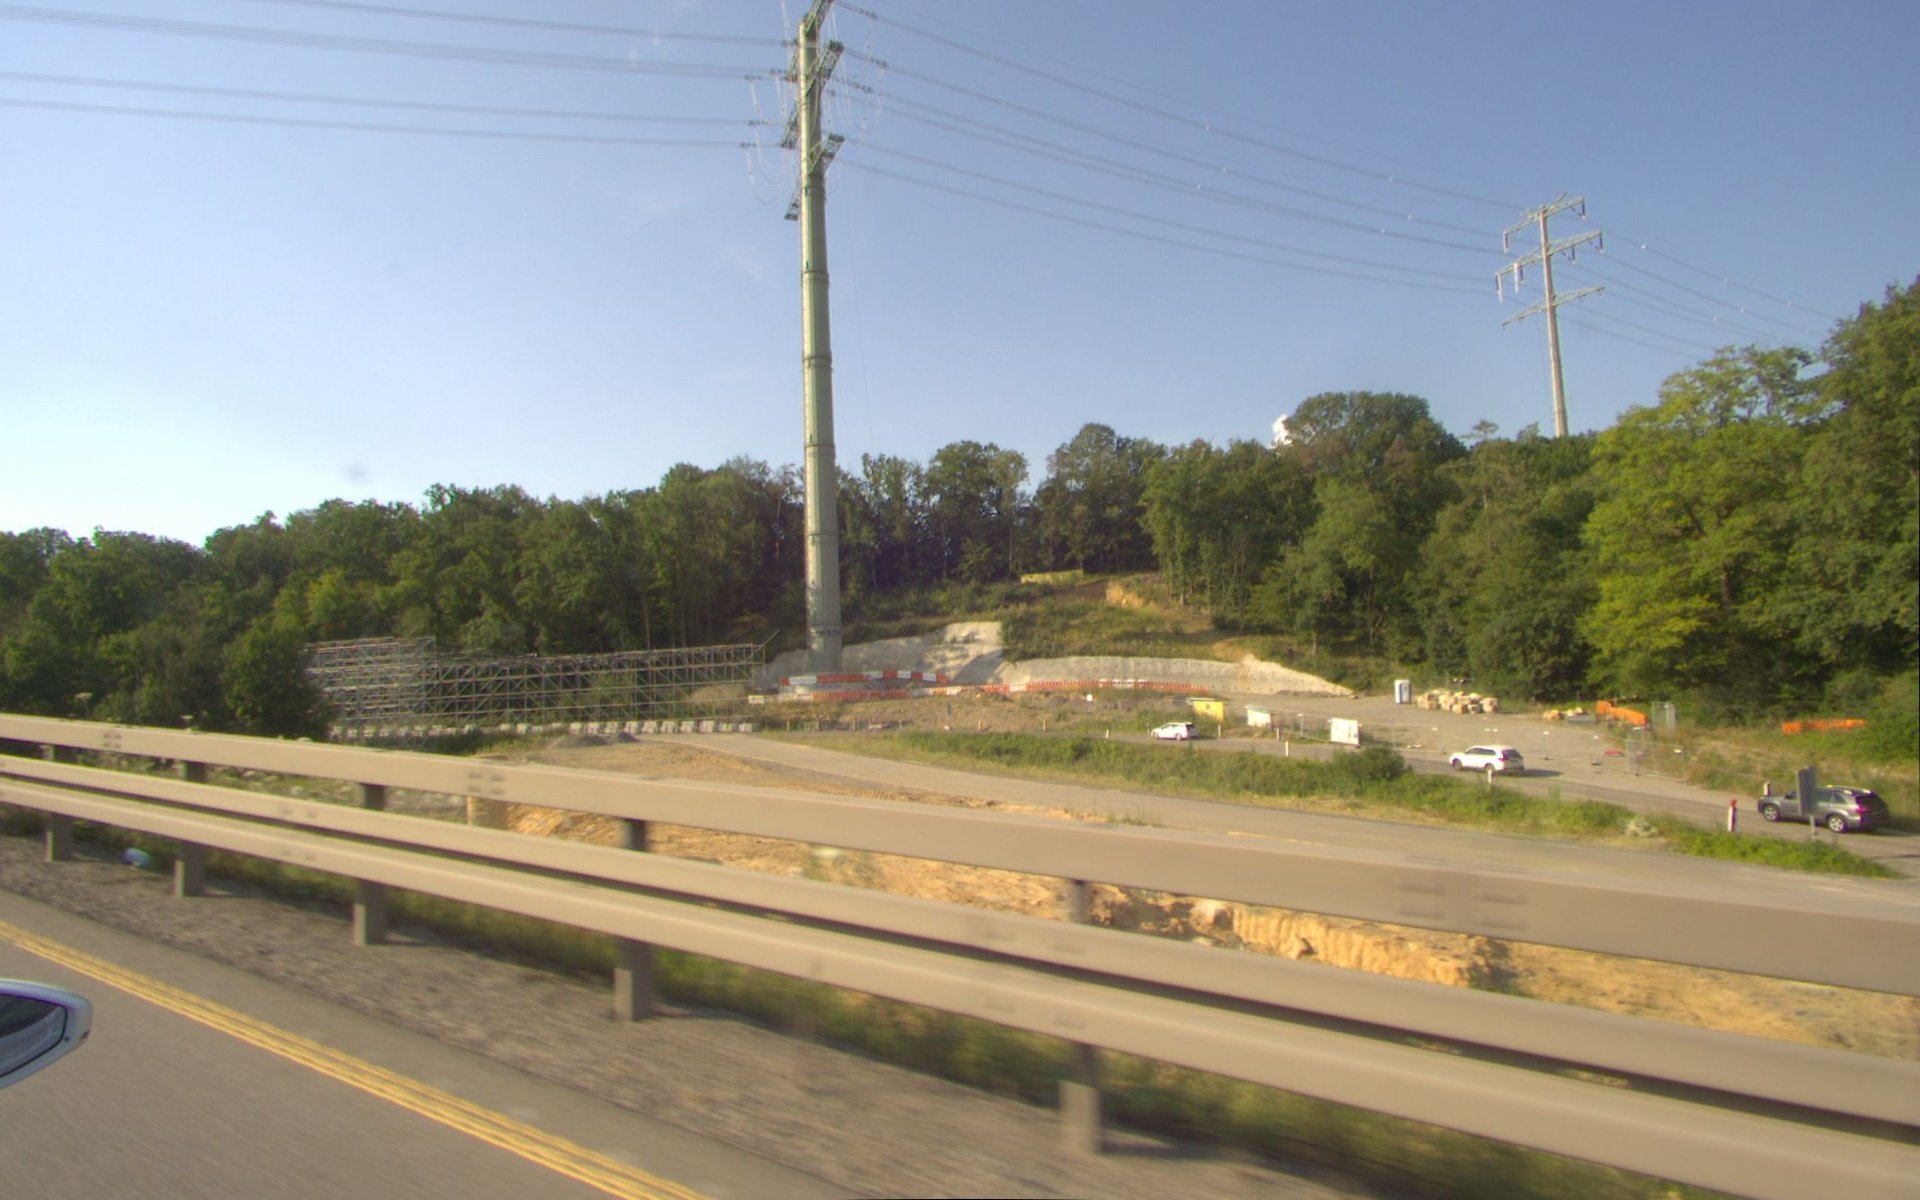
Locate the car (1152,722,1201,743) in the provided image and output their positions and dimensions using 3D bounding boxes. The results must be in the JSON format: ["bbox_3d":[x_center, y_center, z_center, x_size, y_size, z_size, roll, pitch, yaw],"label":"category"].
[{"bbox_3d":[18.916,11.555,87.658,1.513,1.479,4.236,0,-2,-39],"label":"car"}]

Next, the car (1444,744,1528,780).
[{"bbox_3d":[31.605,9.693,60.289,1.647,1.682,4.459,2,-4,-24],"label":"car"}]

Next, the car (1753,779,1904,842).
[{"bbox_3d":[36.198,8.731,41.899,1.836,1.807,4.491,0,-2,-17],"label":"car"}]
